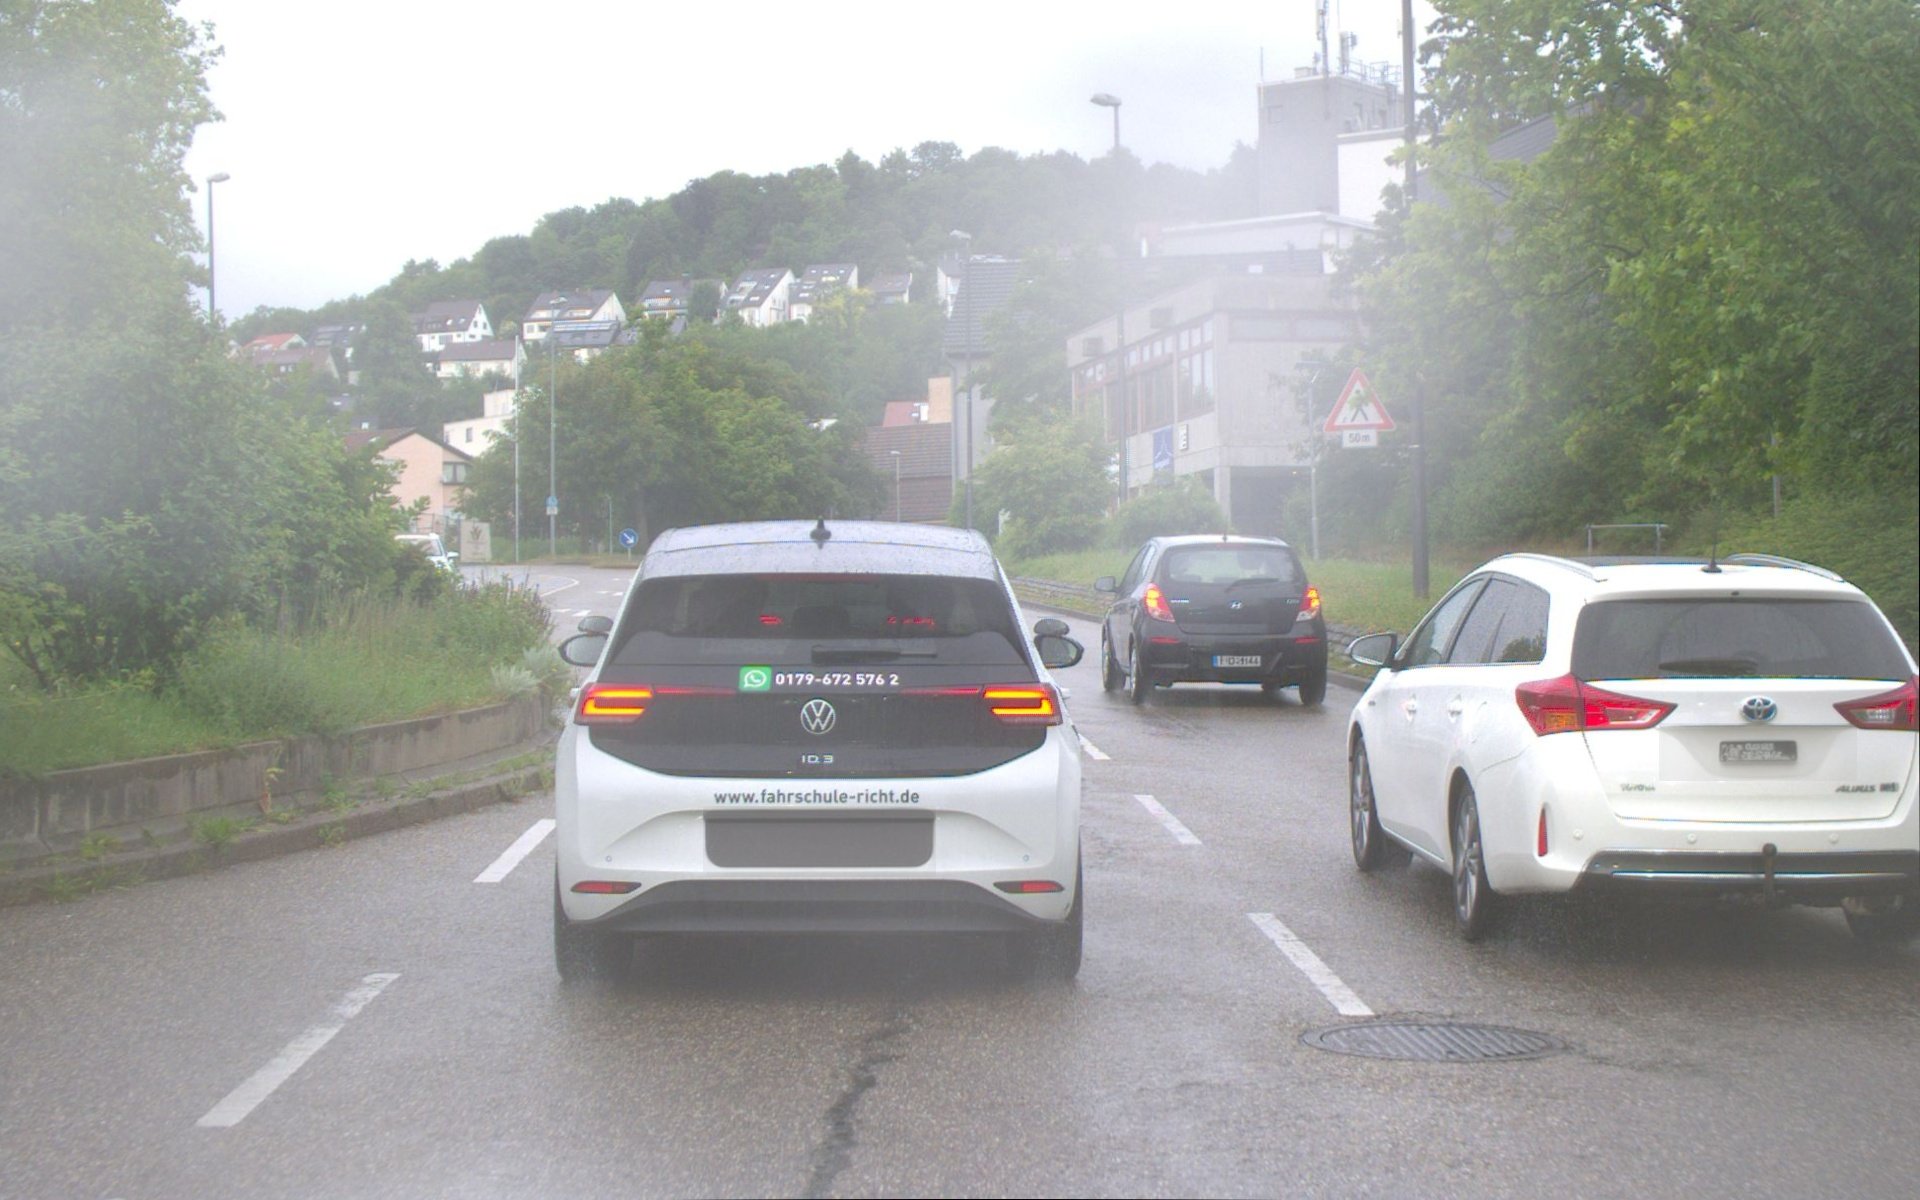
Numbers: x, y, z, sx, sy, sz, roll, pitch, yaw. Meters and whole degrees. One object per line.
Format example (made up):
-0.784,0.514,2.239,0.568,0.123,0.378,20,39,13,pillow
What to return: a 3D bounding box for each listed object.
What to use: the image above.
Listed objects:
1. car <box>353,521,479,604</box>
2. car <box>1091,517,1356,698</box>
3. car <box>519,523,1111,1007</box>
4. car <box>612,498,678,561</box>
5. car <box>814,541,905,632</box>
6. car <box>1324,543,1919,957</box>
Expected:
-11.306,-0.792,71.728,1.993,1.656,4.598,-1,1,-2,car
2.306,0.054,31.033,1.993,1.448,3.771,-3,0,-1,car
-0.475,0.500,12.731,1.828,1.495,4.168,0,0,-1,car
-10.571,-2.353,115.620,1.993,2.007,4.000,1,0,-3,car
-2.293,-0.311,79.197,1.993,2.007,4.000,1,0,-1,car
2.654,0.499,13.844,1.848,1.405,4.302,0,0,-1,car
